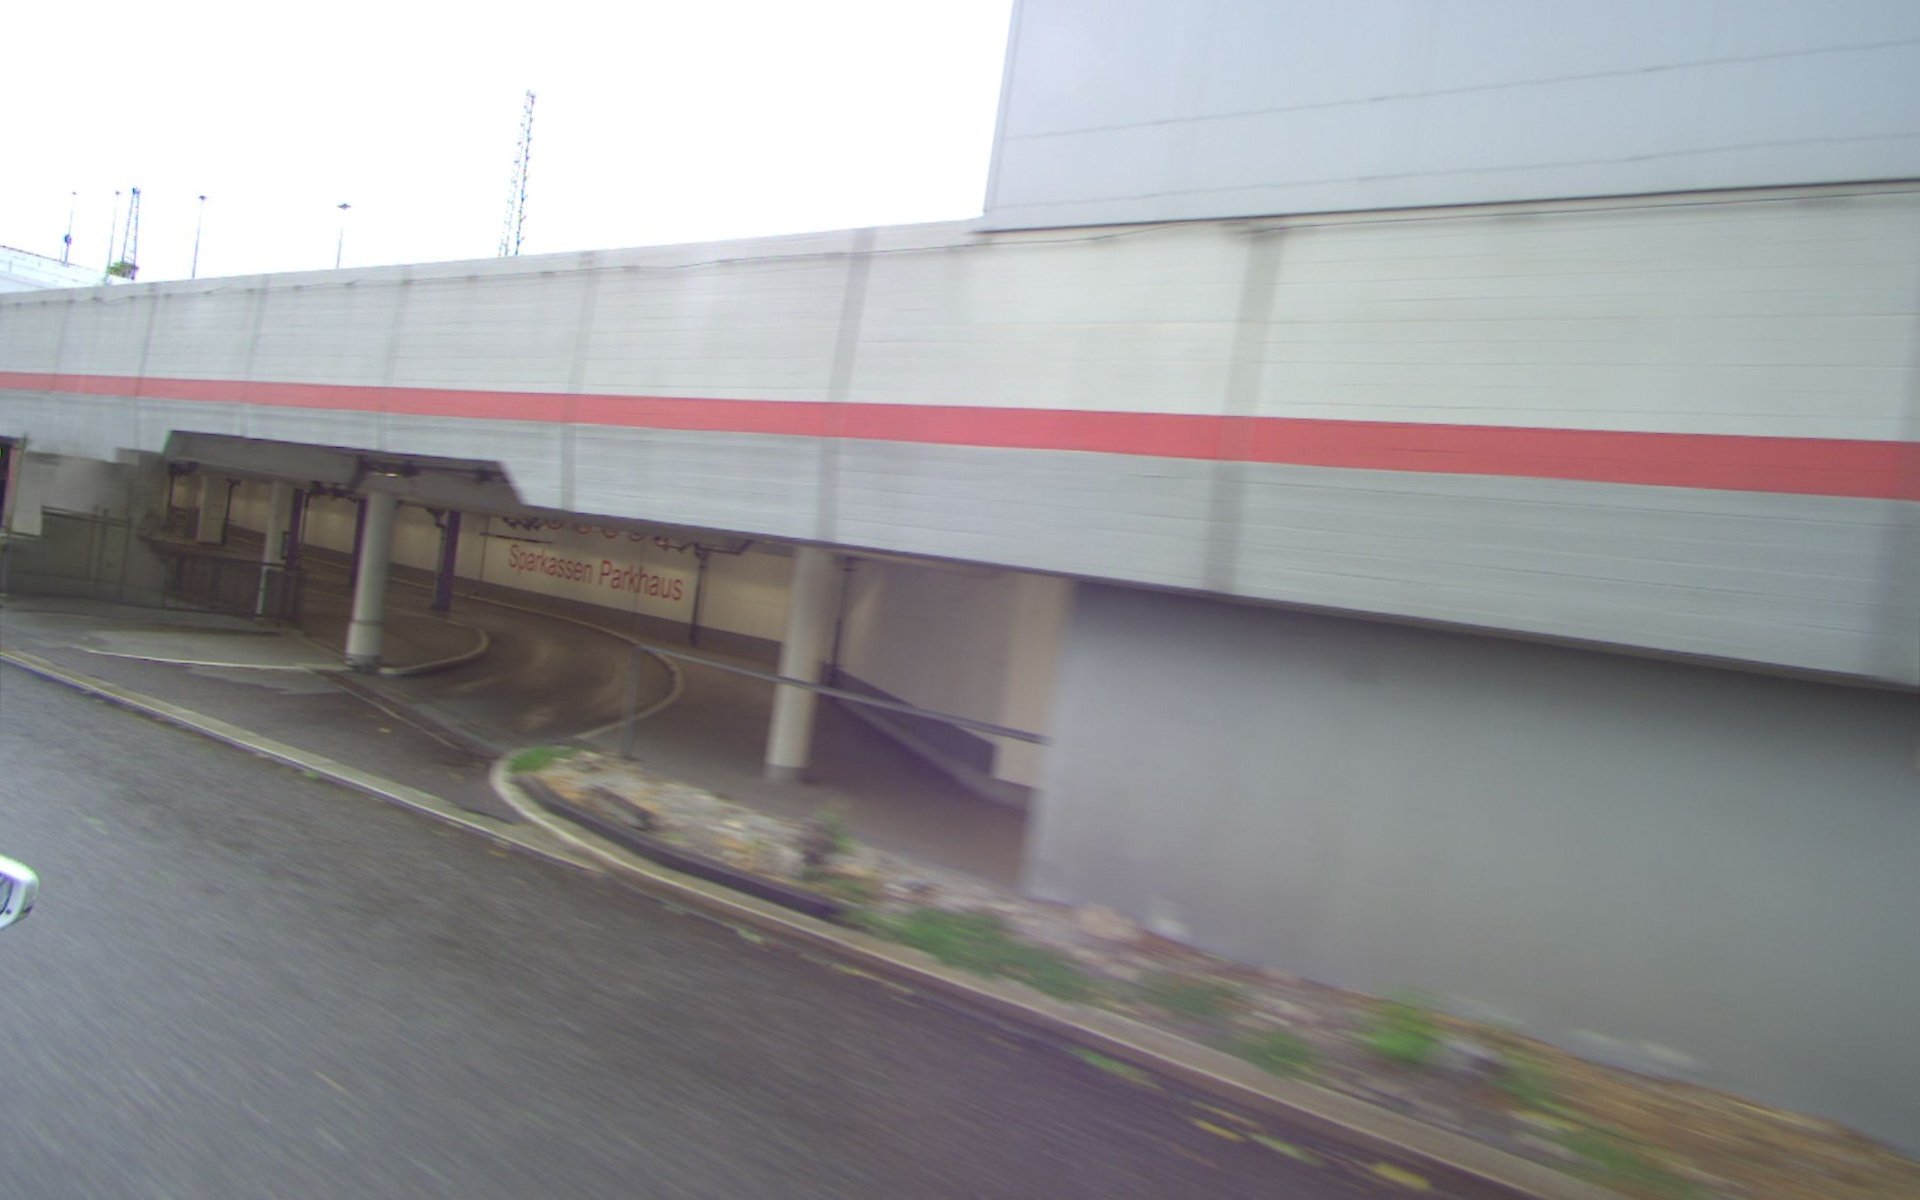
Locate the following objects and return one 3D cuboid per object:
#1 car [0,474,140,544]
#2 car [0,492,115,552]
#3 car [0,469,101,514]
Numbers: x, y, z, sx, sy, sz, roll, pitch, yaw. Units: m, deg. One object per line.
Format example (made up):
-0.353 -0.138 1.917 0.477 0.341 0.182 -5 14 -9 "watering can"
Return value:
-30.227 -3.057 33.180 1.797 1.658 4.573 5 -4 41 "car"
-29.836 -2.571 32.383 1.781 1.524 3.717 7 1 40 "car"
-50.646 -5.986 55.980 1.973 1.658 3.984 5 -4 42 "car"
